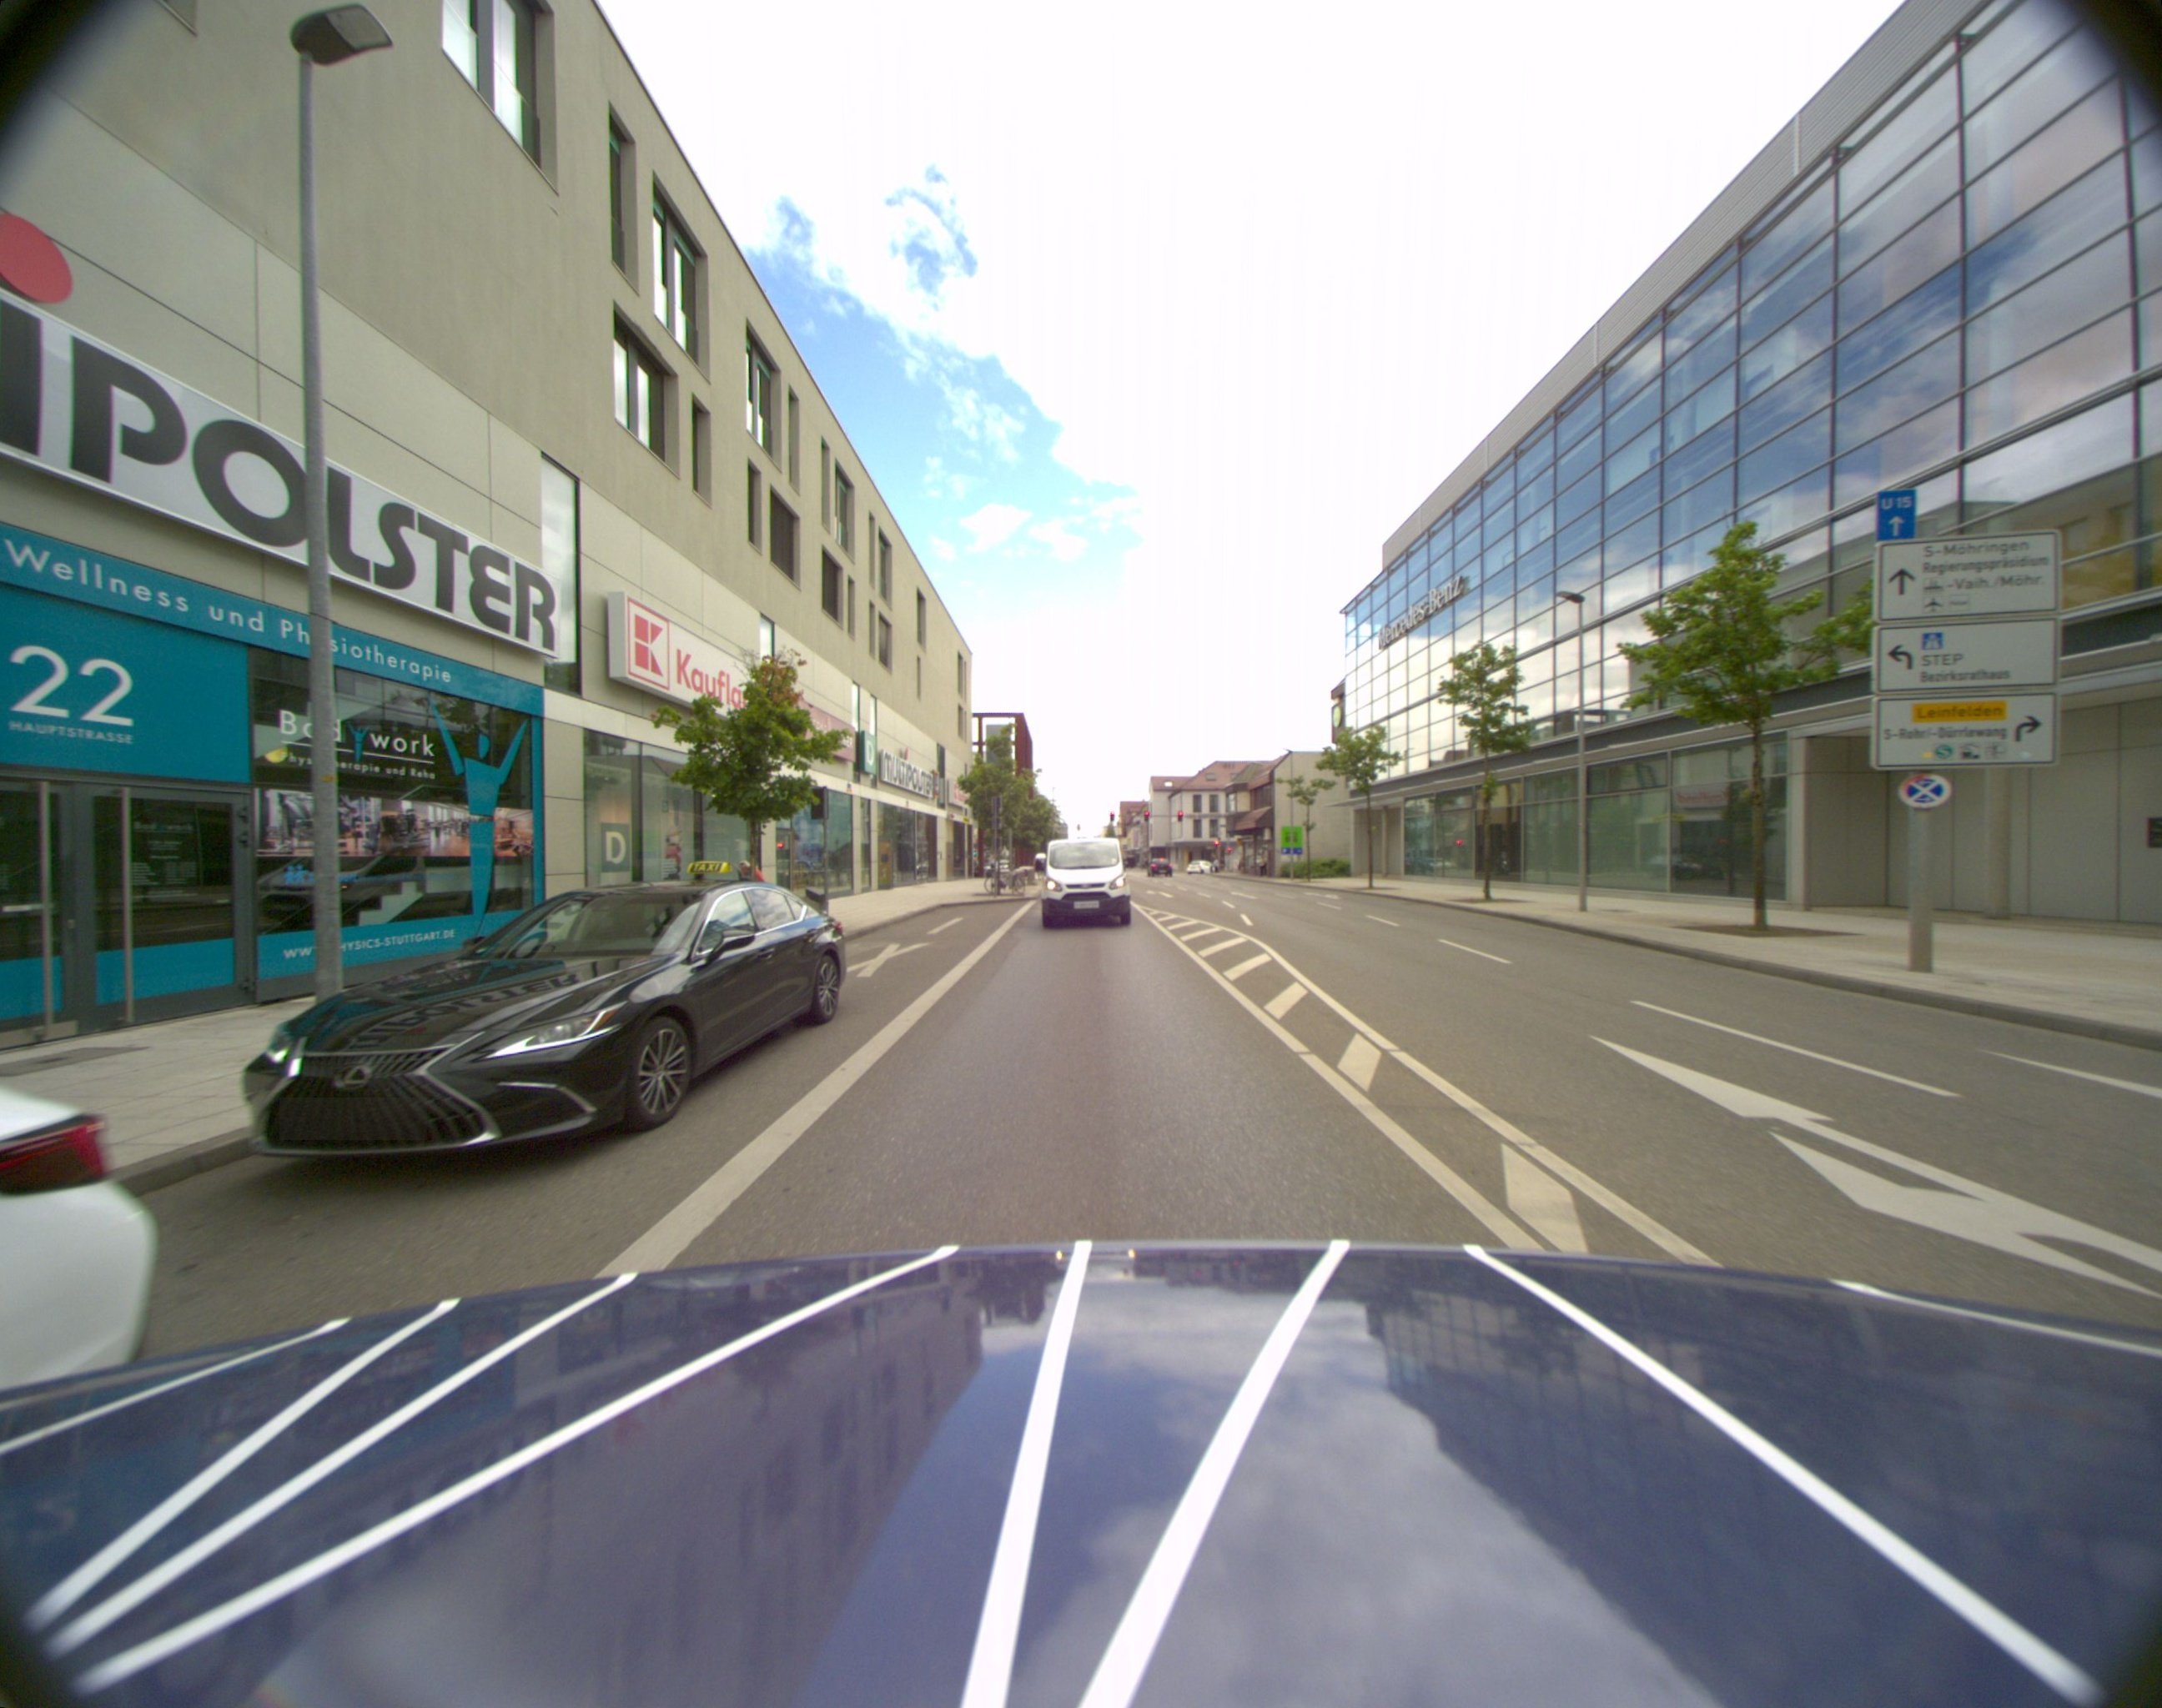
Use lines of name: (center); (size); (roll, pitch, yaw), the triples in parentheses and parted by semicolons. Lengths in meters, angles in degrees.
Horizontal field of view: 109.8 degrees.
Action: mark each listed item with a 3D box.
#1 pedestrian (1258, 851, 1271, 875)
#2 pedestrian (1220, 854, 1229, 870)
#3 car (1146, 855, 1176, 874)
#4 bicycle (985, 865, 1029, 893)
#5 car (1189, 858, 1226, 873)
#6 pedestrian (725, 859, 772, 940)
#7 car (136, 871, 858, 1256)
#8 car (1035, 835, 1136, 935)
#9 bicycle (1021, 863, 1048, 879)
pedestrian: (12.791, 0.624, 52.929); (0.702, 1.614, 0.693); (0, 0, 0)
pedestrian: (14.204, 0.780, 75.175); (0.555, 1.507, 0.582); (0, 1, -32)
car: (6.579, 0.849, 62.952); (1.803, 1.458, 3.998); (0, 0, -3)
bicycle: (-3.010, 1.020, 30.806); (1.745, 1.093, 0.561); (2, 0, -7)
car: (13.366, 1.176, 80.229); (1.933, 1.458, 4.009); (0, 0, 43)
pedestrian: (-6.625, 0.893, 15.160); (0.590, 1.558, 0.732); (1, 1, 0)
car: (-3.327, 1.002, 5.817); (1.741, 1.533, 4.790); (-2, 0, 0)
car: (0.103, 0.628, 18.109); (2.000, 1.976, 5.000); (-2, 0, 0)
bicycle: (-3.108, 1.140, 50.909); (1.745, 1.015, 0.451); (0, 0, -6)
